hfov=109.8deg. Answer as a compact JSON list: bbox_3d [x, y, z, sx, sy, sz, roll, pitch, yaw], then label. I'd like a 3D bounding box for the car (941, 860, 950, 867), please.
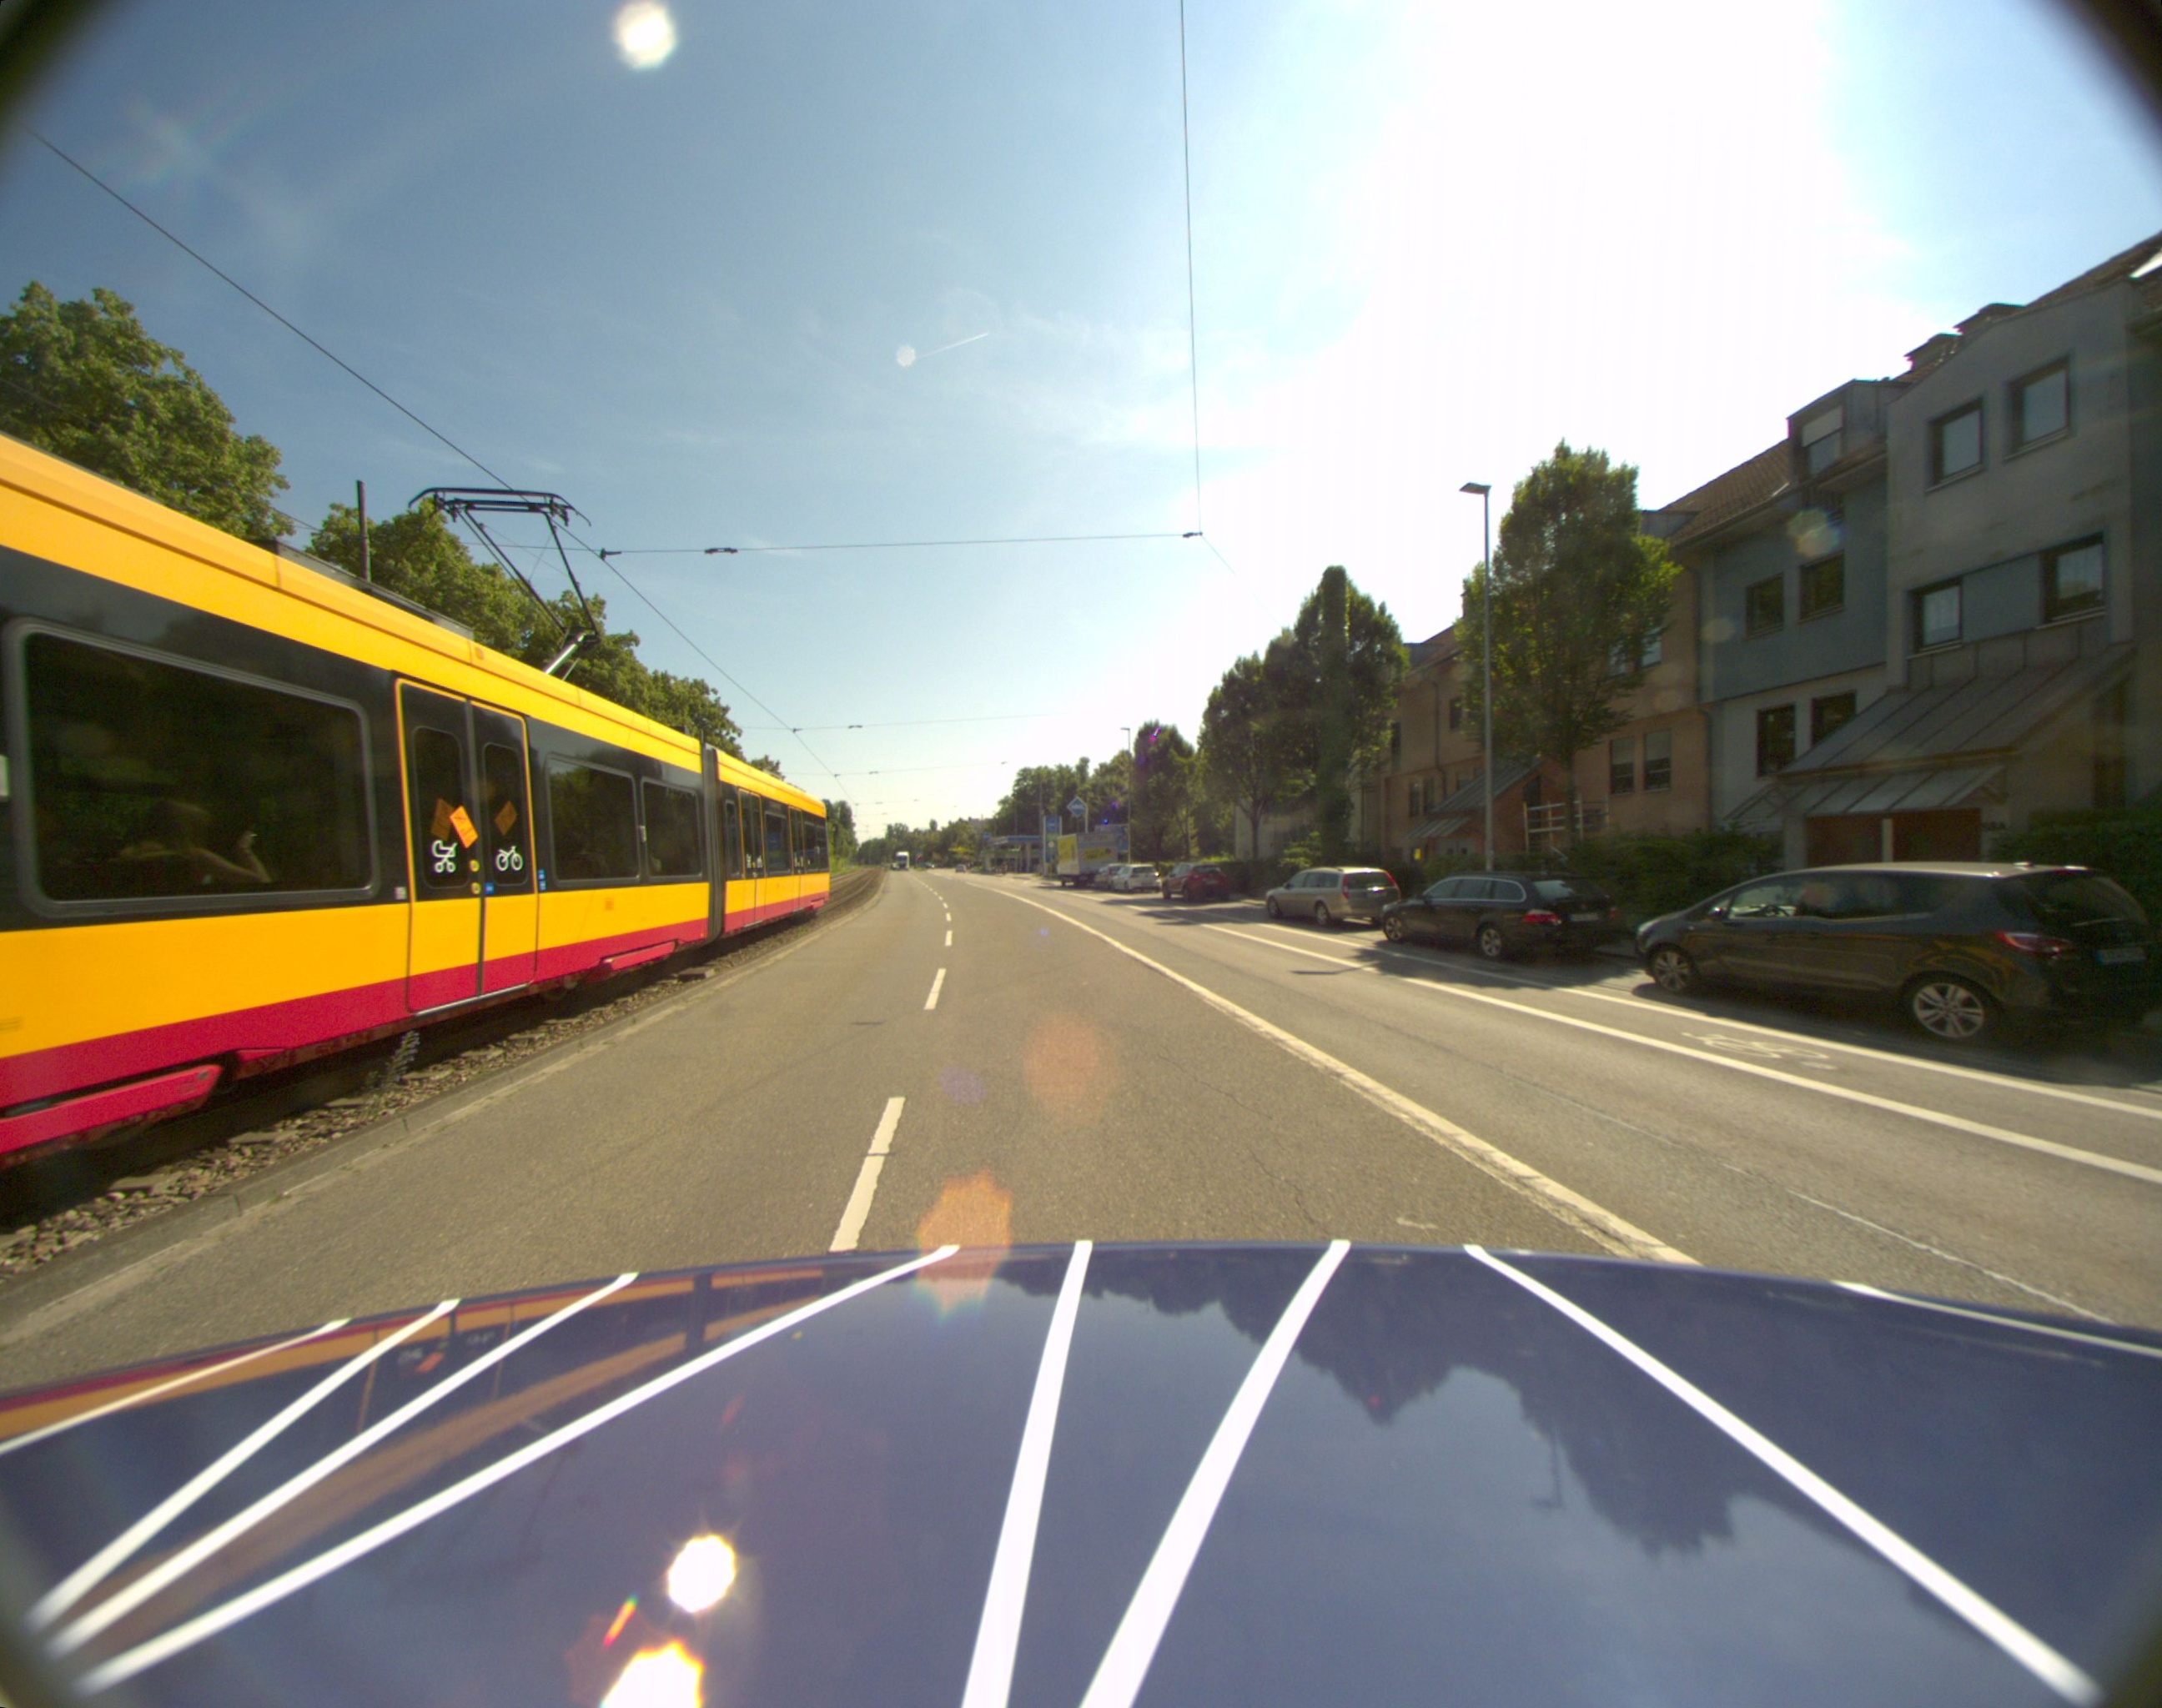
[{"bbox_3d":[-38.125,2.709,213.309,1.828,1.661,3.995,-1,-2,-18],"label":"car"}]

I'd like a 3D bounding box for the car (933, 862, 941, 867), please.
[{"bbox_3d":[-43.757,3.202,231.250,1.828,1.661,3.995,-1,-2,-18],"label":"car"}]

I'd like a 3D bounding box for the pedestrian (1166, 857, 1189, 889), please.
[{"bbox_3d":[5.094,0.992,40.245,0.878,1.681,1.054,0,0,-13],"label":"pedestrian"}]

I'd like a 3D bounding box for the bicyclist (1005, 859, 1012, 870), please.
[{"bbox_3d":[-9.717,1.398,101.660,0.850,1.427,0.832,0,0,-9],"label":"bicyclist"}]

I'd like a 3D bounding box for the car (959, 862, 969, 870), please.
[{"bbox_3d":[-21.136,2.185,137.689,1.664,1.412,4.306,0,0,-10],"label":"car"}]

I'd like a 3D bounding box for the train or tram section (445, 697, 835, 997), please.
[{"bbox_3d":[-7.661,-0.060,16.195,2.520,3.725,13.299,0,0,-9],"label":"train or tram section"}]

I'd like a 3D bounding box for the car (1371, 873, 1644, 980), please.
[{"bbox_3d":[7.428,1.153,13.907,1.728,1.466,4.710,-2,0,-10],"label":"car"}]

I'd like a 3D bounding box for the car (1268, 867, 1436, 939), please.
[{"bbox_3d":[6.750,1.150,19.605,1.787,1.475,4.852,-2,1,-12],"label":"car"}]

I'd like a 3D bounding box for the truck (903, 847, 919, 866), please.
[{"bbox_3d":[-36.954,0.601,165.750,2.855,3.983,14.291,0,-1,-11],"label":"truck"}]

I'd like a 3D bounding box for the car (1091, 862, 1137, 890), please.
[{"bbox_3d":[1.887,1.243,43.941,1.615,1.475,3.631,-2,0,-15],"label":"car"}]

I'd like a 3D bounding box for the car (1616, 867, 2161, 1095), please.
[{"bbox_3d":[8.211,0.995,7.972,1.722,1.615,4.309,-2,0,-9],"label":"car"}]

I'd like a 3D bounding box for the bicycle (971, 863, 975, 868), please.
[{"bbox_3d":[-25.151,2.696,176.957,0.941,1.168,2.209,0,-1,-12],"label":"bicycle"}]

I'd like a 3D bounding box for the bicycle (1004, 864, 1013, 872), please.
[{"bbox_3d":[-9.721,1.840,101.715,0.828,1.088,2.769,0,0,-11],"label":"bicycle"}]

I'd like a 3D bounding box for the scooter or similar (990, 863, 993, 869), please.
[{"bbox_3d":[-17.020,2.271,144.052,0.442,1.230,1.345,0,0,-4],"label":"scooter or similar"}]

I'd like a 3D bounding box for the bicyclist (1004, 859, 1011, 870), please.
[{"bbox_3d":[-9.855,1.407,102.467,0.850,1.427,0.832,-1,0,-10],"label":"bicyclist"}]

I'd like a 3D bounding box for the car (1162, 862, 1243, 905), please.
[{"bbox_3d":[4.787,1.130,30.473,1.737,1.542,4.314,-2,0,-12],"label":"car"}]

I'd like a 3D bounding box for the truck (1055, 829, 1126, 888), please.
[{"bbox_3d":[0.469,0.279,50.549,2.676,3.509,8.581,-2,0,-13],"label":"truck"}]

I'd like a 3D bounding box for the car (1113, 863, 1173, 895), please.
[{"bbox_3d":[3.075,1.217,38.471,1.764,1.420,4.277,-2,0,-13],"label":"car"}]

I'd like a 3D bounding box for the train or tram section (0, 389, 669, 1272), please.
[{"bbox_3d":[-5.829,-0.098,3.238,2.519,3.725,13.301,0,0,-7],"label":"train or tram section"}]
